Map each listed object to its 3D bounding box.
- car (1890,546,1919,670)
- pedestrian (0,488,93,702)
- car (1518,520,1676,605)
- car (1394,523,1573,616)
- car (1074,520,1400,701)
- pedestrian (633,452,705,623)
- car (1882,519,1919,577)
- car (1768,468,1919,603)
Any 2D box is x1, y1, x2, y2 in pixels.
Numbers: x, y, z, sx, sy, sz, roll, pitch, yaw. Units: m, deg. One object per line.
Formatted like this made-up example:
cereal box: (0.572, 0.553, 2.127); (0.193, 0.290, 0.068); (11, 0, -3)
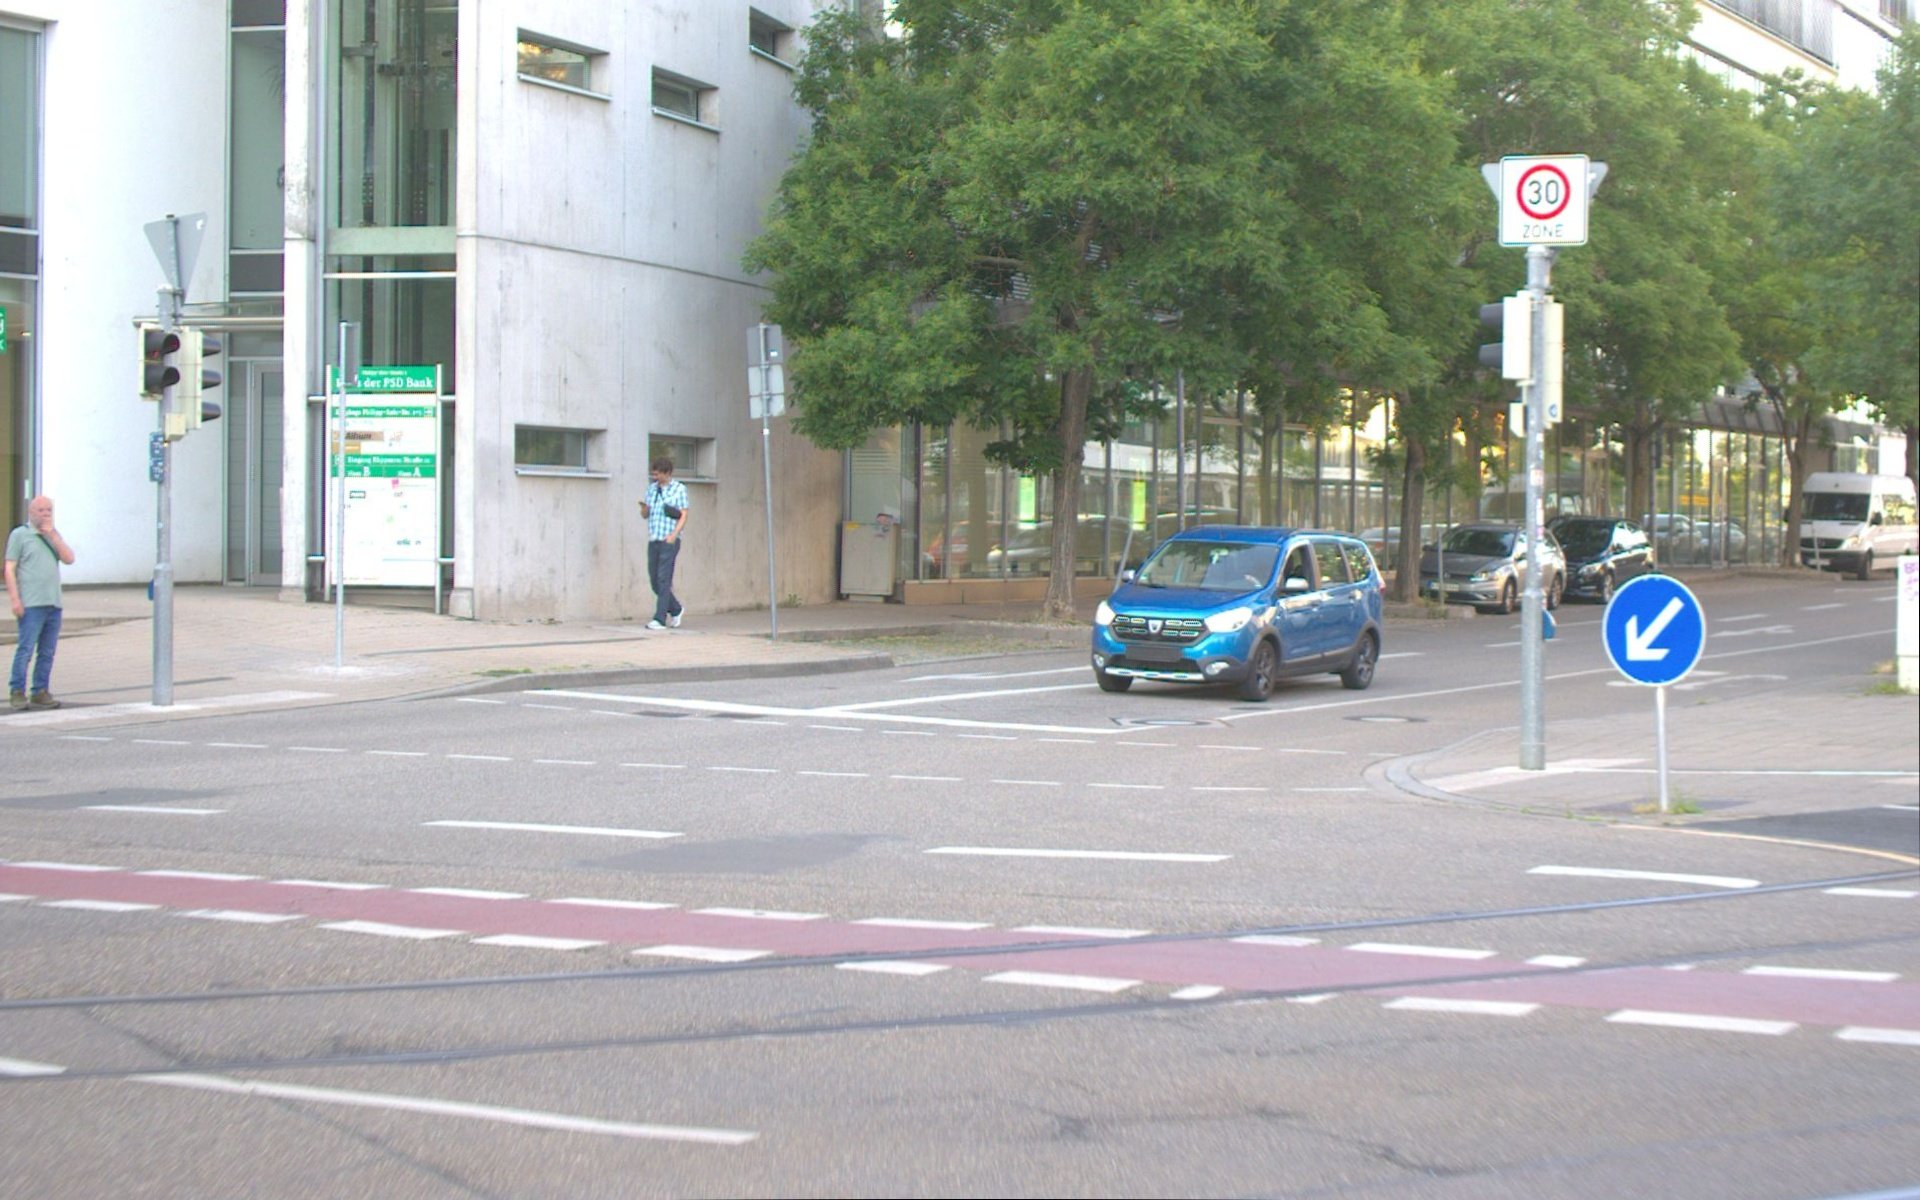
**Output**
car: (12.537, 0.076, 41.540); (1.685, 1.434, 4.120); (2, 2, 27)
pedestrian: (-7.454, -0.052, 27.797); (0.547, 1.705, 0.658); (2, 2, 37)
car: (11.865, -0.714, 63.818); (1.685, 1.496, 4.233); (2, 2, 28)
car: (8.933, -0.540, 58.418); (1.685, 1.496, 4.233); (2, 2, 28)
car: (2.873, 0.051, 34.824); (1.685, 1.694, 4.232); (2, 2, 29)
pedestrian: (-3.287, -0.704, 38.896); (0.662, 1.915, 0.548); (0, 1, 16)
car: (25.878, -1.386, 91.441); (1.685, 1.496, 4.233); (2, 2, 28)
car: (21.488, -1.579, 83.247); (2.205, 3.141, 6.133); (2, 2, 28)
